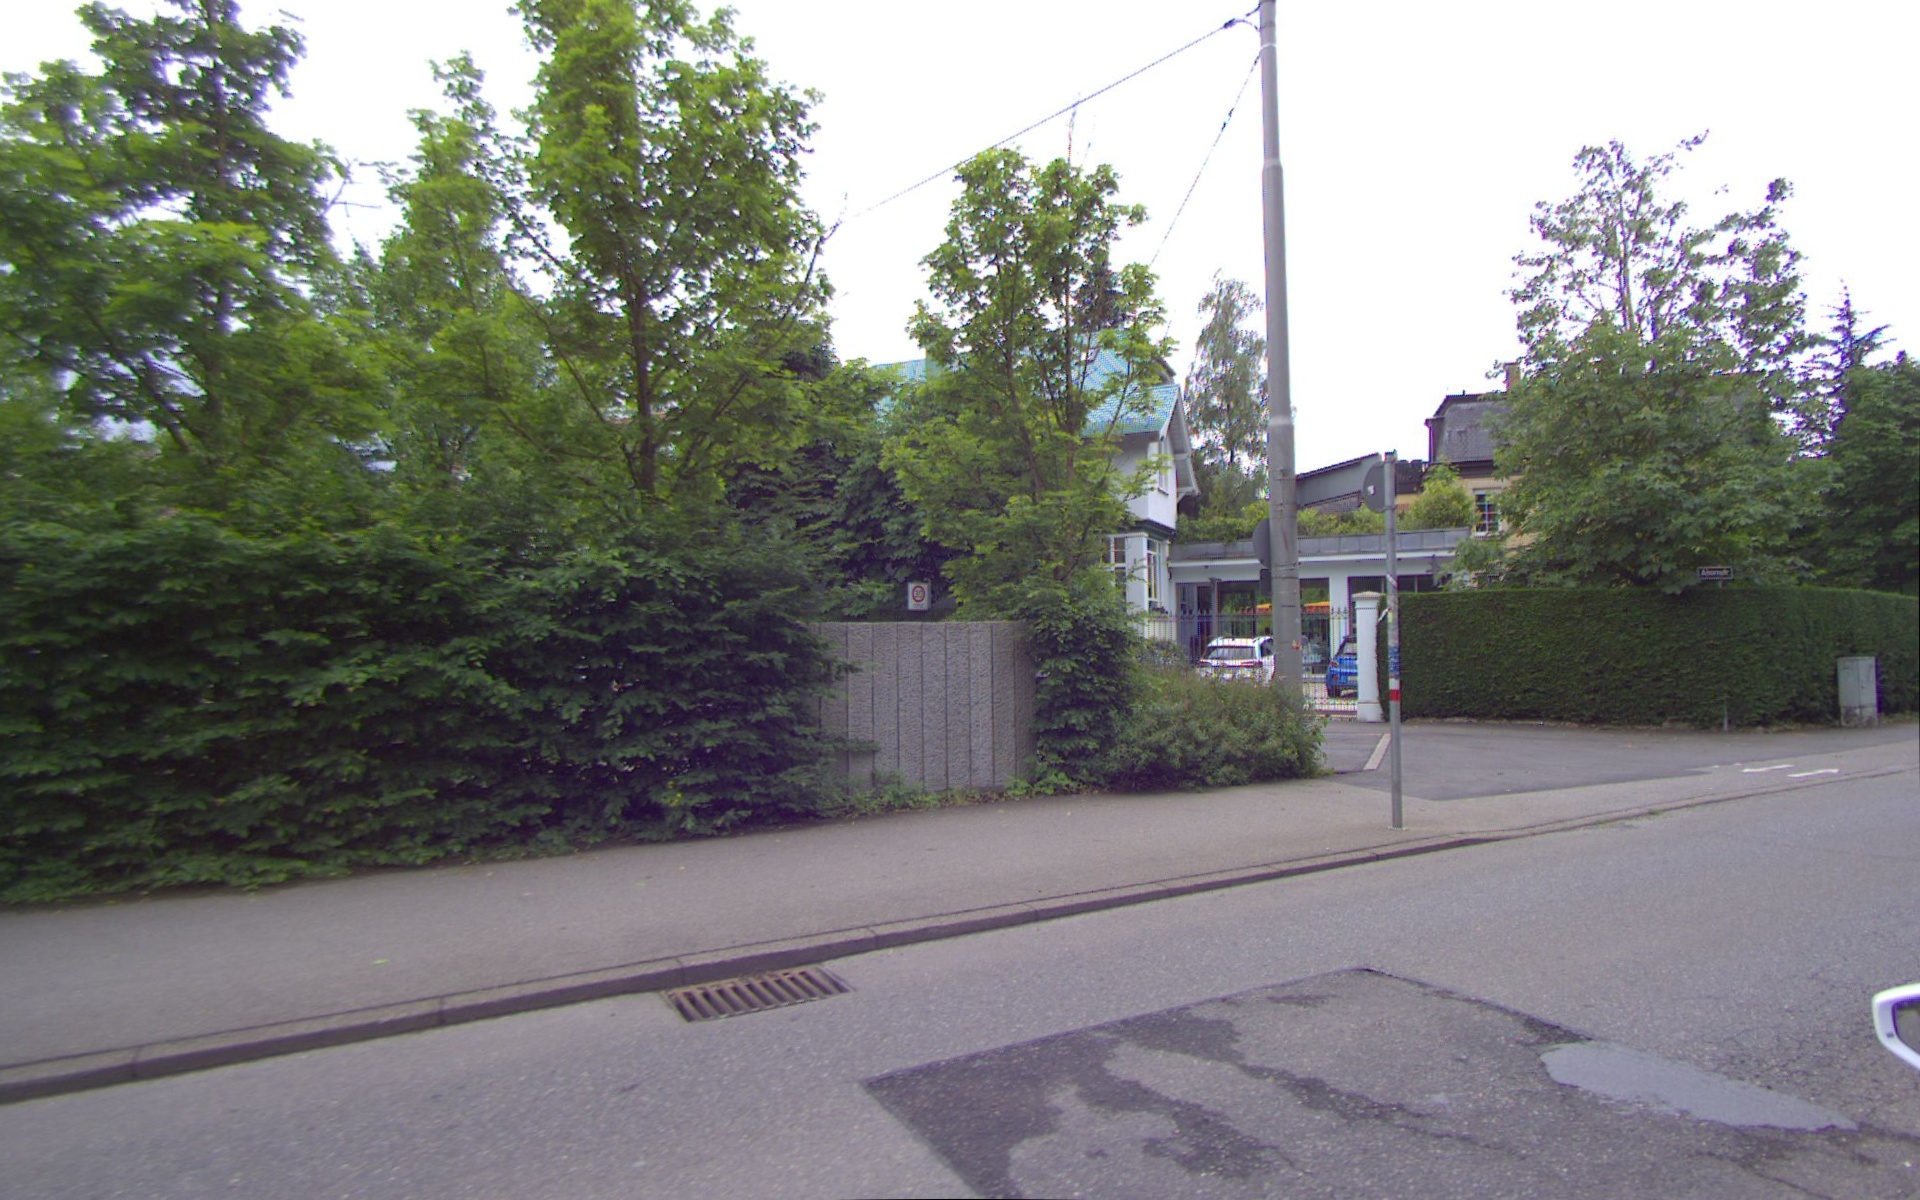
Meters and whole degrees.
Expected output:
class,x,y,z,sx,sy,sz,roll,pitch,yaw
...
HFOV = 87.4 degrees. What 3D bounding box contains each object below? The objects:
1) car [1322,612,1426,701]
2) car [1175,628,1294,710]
class,x,y,z,sx,sy,sz,roll,pitch,yaw
car,10.148,1.298,24.459,1.963,1.914,3.994,-2,0,27
car,6.792,1.611,24.586,1.964,1.706,3.994,-2,-1,28
